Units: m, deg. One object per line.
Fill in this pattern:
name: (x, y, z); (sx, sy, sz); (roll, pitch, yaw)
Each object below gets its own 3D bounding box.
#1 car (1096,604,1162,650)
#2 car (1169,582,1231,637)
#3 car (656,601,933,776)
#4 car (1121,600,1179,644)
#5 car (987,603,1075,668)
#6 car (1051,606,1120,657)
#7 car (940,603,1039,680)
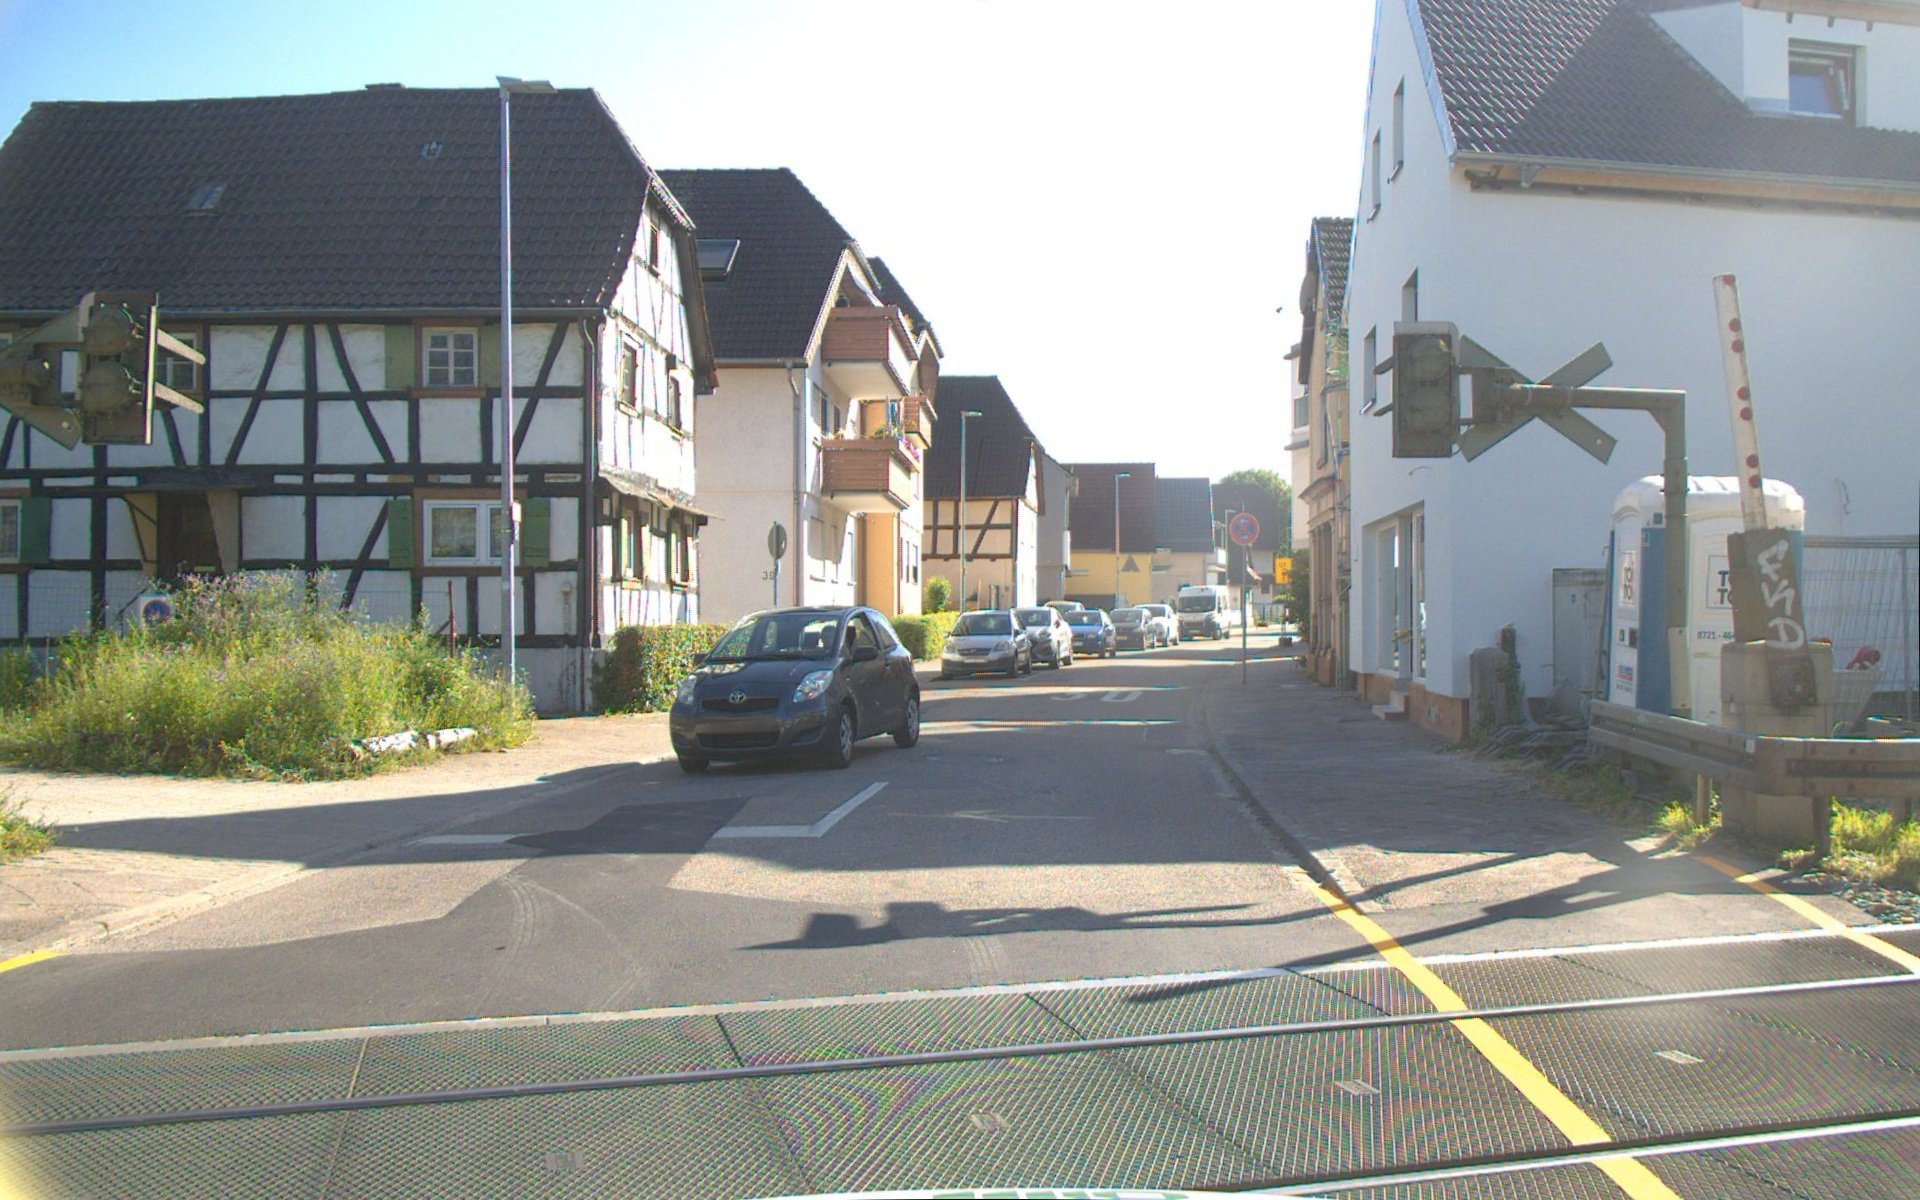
car: (6.183, 0.965, 60.152); (1.667, 1.545, 4.124); (-2, -1, 16)
car: (11.181, 0.433, 76.892); (2.033, 2.436, 5.211); (-2, -1, 17)
car: (-1.536, 0.816, 16.672); (1.650, 1.536, 3.657); (-2, -1, 13)
car: (7.429, 0.842, 64.399); (1.638, 1.599, 3.968); (-2, -1, 15)
car: (1.867, 0.877, 42.139); (1.638, 1.532, 4.098); (-2, 0, 11)
car: (3.912, 0.947, 50.894); (1.603, 1.466, 4.078); (-2, -1, 11)
car: (0.714, 0.892, 37.185); (1.596, 1.532, 3.856); (-3, 0, 10)
